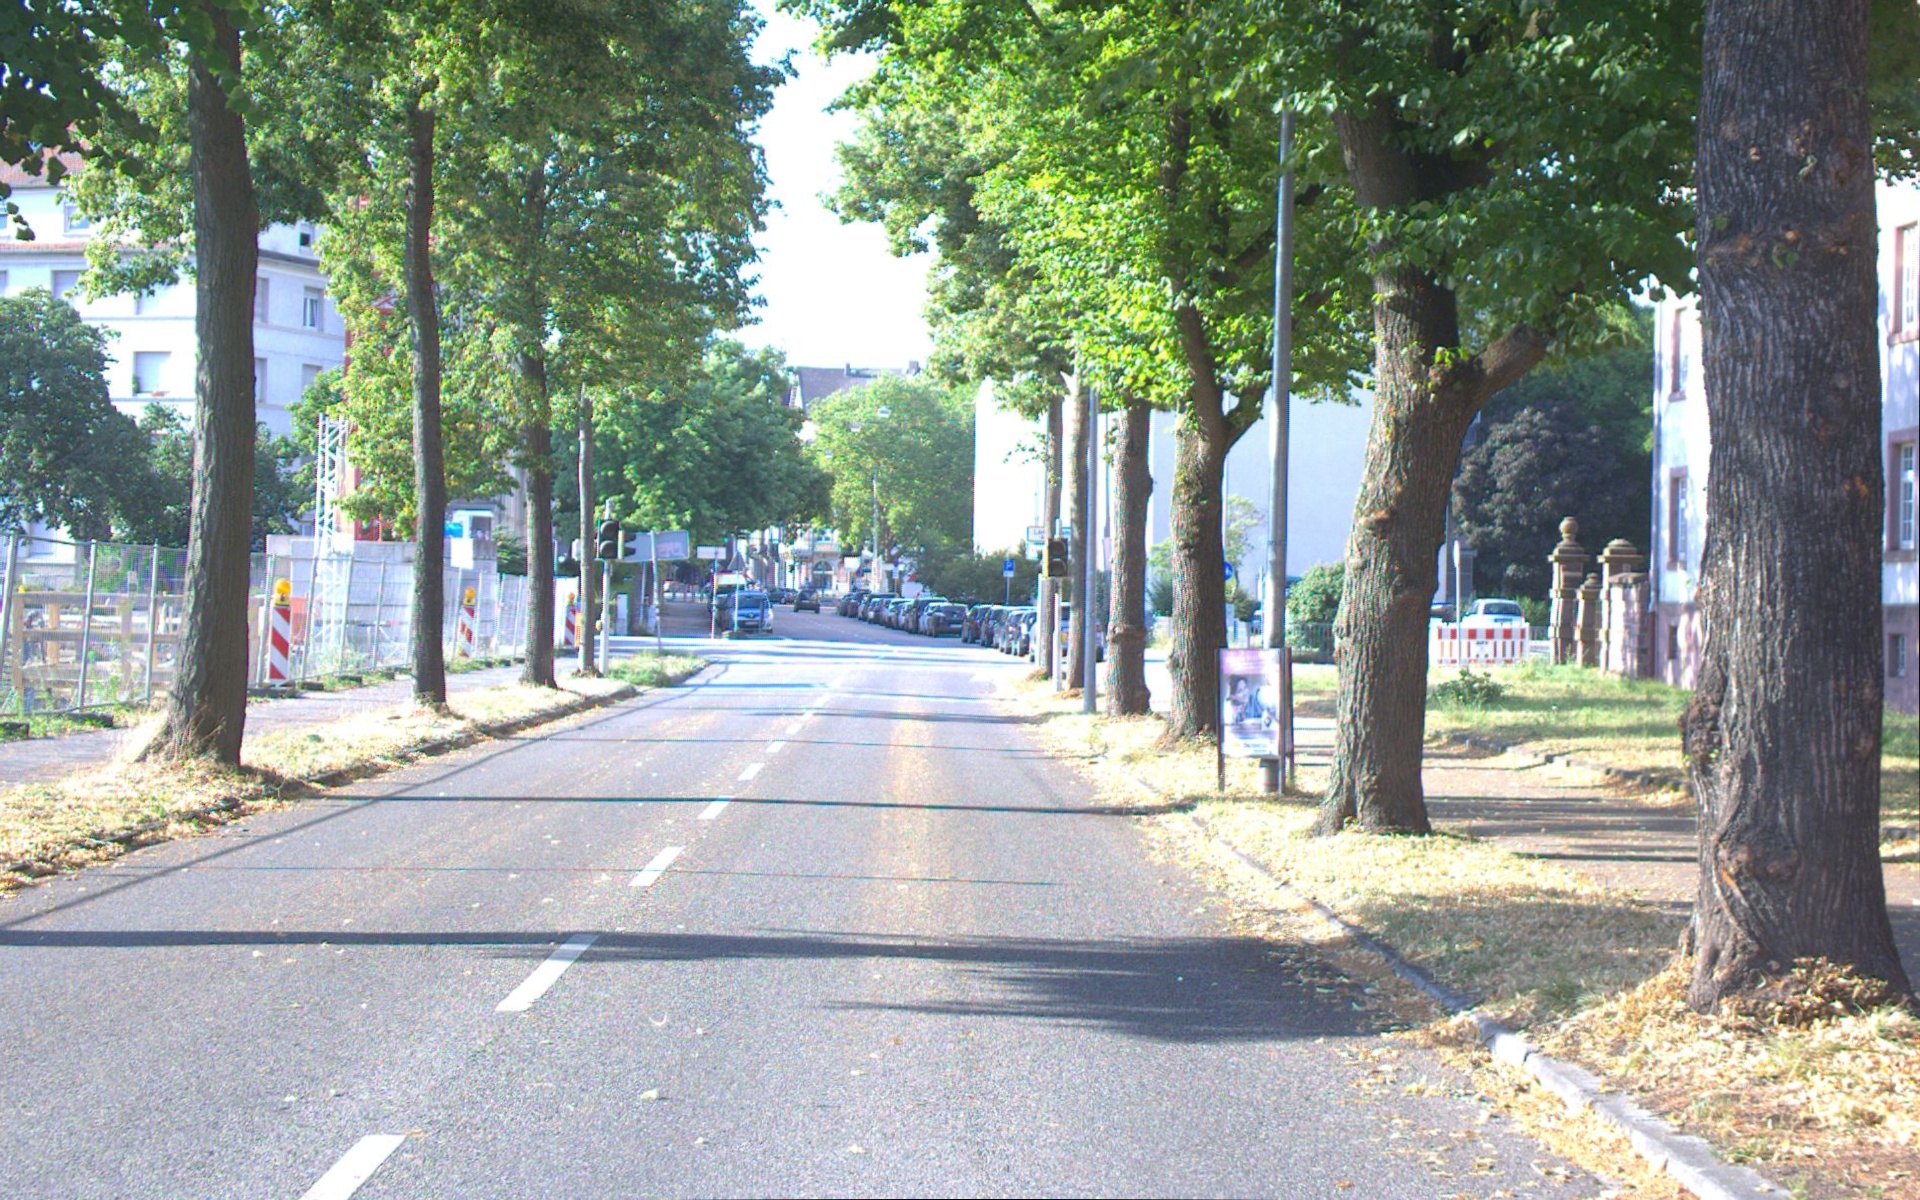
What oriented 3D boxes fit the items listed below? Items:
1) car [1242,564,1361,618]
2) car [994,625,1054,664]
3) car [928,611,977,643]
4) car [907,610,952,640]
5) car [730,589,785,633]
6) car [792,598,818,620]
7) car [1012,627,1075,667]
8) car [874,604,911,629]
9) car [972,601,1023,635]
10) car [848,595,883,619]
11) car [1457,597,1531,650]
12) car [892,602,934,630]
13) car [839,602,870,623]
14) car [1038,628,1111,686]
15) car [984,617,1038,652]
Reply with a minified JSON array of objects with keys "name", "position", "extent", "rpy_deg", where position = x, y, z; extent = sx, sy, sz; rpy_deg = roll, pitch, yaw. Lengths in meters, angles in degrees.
[{"name":"car","position":[12.170,-0.331,122.711],"extent":[3.987,1.722,1.773],"rpy_deg":[3,0,1]},{"name":"car","position":[2.115,1.480,114.900],"extent":[1.841,1.257,4.000],"rpy_deg":[1,0,-1]},{"name":"car","position":[-0.336,1.177,150.274],"extent":[1.841,1.381,4.000],"rpy_deg":[0,0,-4]},{"name":"car","position":[-1.431,1.184,161.259],"extent":[1.841,1.381,4.000],"rpy_deg":[1,0,-4]},{"name":"car","position":[-8.100,0.464,137.352],"extent":[1.993,1.682,4.001],"rpy_deg":[1,-1,-6]},{"name":"car","position":[-10.786,0.610,238.774],"extent":[1.714,1.481,4.000],"rpy_deg":[0,-1,-4]},{"name":"car","position":[2.636,1.492,109.278],"extent":[1.779,1.223,4.000],"rpy_deg":[1,0,-1]},{"name":"car","position":[-3.803,0.921,193.935],"extent":[1.841,1.381,4.000],"rpy_deg":[1,0,-4]},{"name":"car","position":[1.429,0.681,132.075],"extent":[1.841,1.257,4.000],"rpy_deg":[1,0,-1]},{"name":"car","position":[-5.492,0.397,200.360],"extent":[1.841,1.381,4.000],"rpy_deg":[1,0,-4]},{"name":"car","position":[17.066,0.768,110.003],"extent":[1.812,1.554,3.625],"rpy_deg":[3,-1,2]},{"name":"car","position":[-2.383,0.824,173.182],"extent":[1.841,1.381,4.000],"rpy_deg":[1,0,-4]},{"name":"car","position":[-6.862,0.797,223.221],"extent":[1.841,1.381,4.000],"rpy_deg":[0,0,-4]},{"name":"car","position":[3.241,1.605,98.023],"extent":[1.841,1.569,4.000],"rpy_deg":[1,0,-1]},{"name":"car","position":[1.843,1.248,125.545],"extent":[1.841,1.257,4.000],"rpy_deg":[0,0,-1]}]
